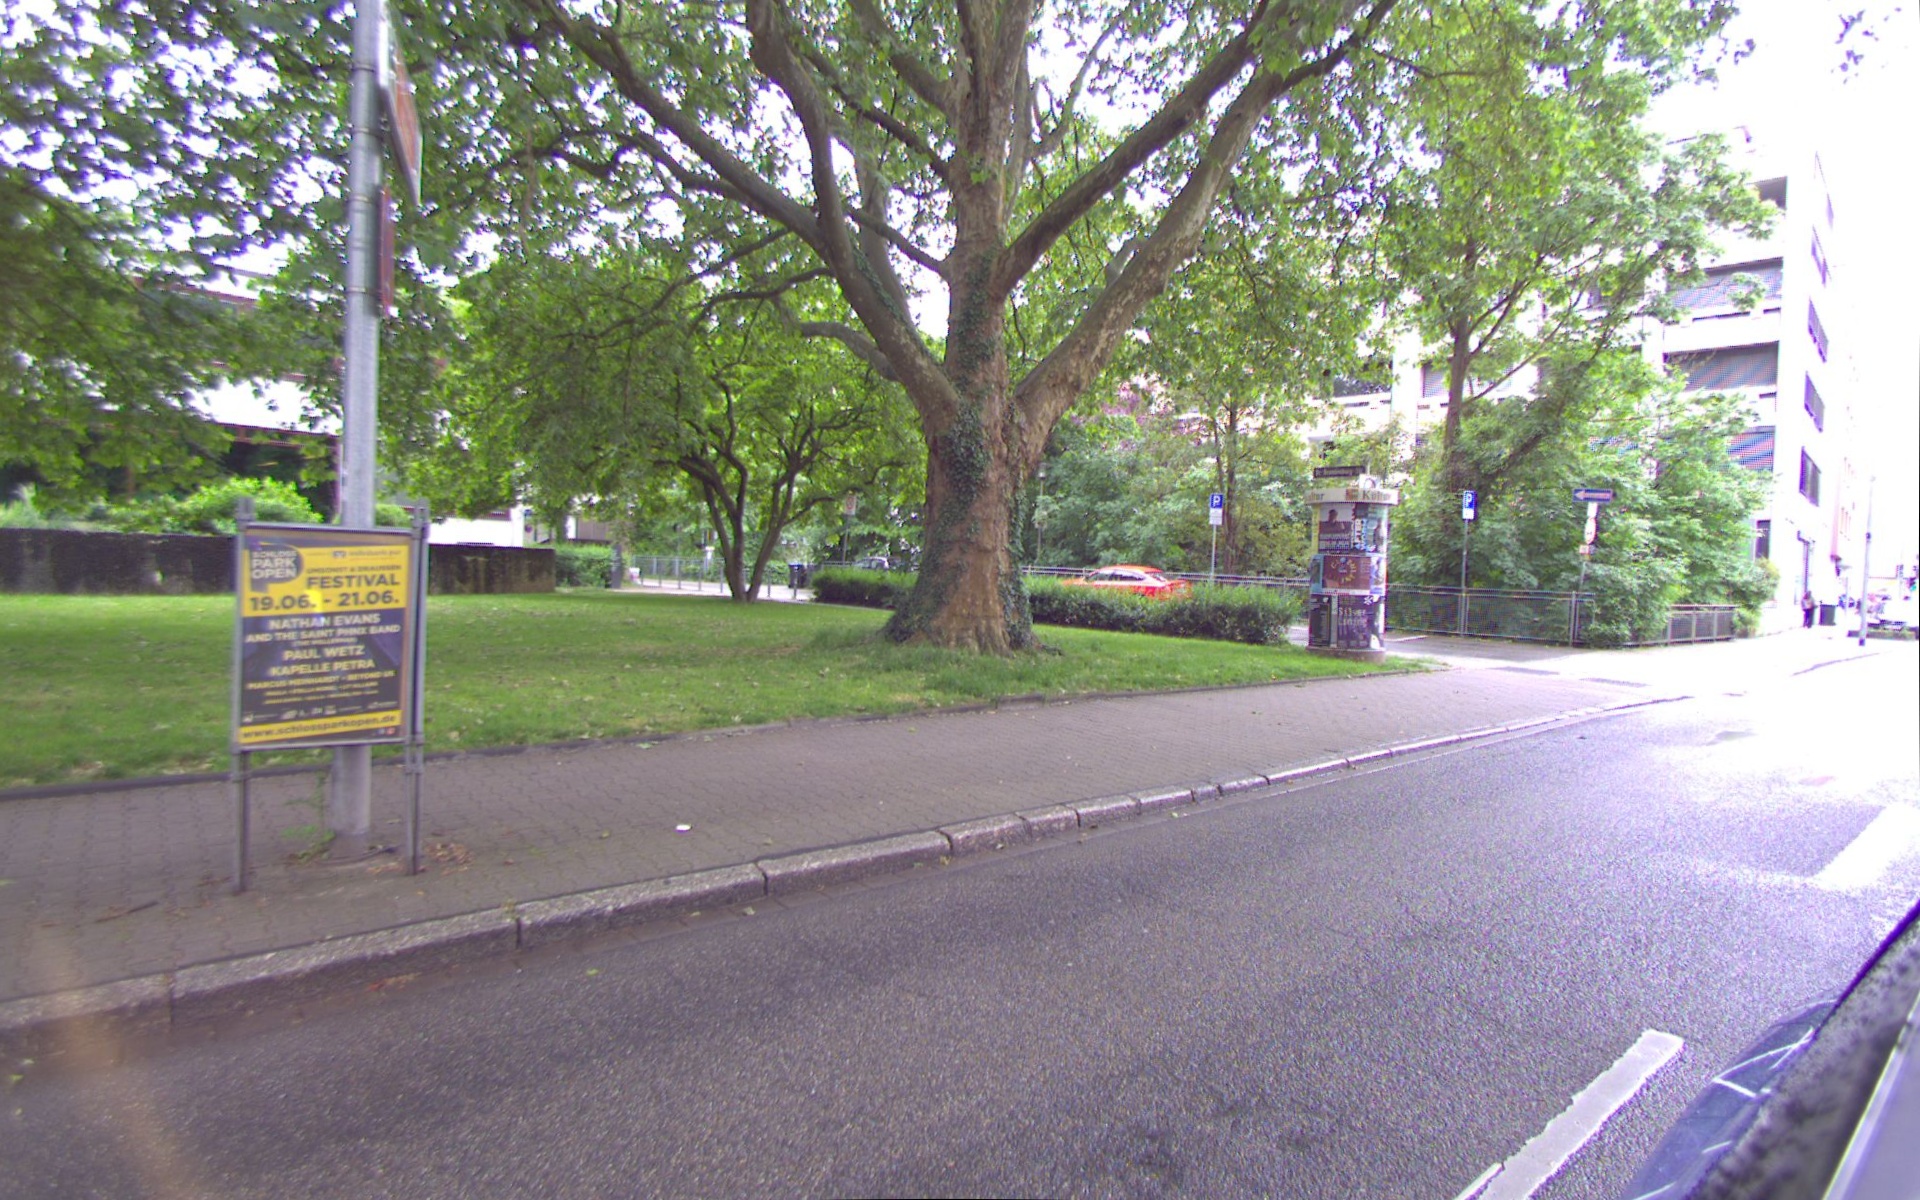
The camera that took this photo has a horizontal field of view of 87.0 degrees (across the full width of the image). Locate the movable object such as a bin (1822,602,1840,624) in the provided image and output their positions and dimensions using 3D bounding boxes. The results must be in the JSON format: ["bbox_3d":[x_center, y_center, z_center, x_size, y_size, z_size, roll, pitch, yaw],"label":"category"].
[{"bbox_3d":[41.924,0.619,48.713,0.287,1.054,0.556,0,3,-41],"label":"movable object such as a bin"}]

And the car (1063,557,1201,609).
[{"bbox_3d":[4.961,-0.537,29.541,1.551,1.294,3.784,-1,4,-44],"label":"car"}]

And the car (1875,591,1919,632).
[{"bbox_3d":[37.417,0.454,39.739,3.617,1.449,1.681,0,5,-41],"label":"car"}]

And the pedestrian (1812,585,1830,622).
[{"bbox_3d":[36.075,0.132,42.398,0.473,1.549,0.480,0,0,-41],"label":"pedestrian"}]

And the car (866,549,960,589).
[{"bbox_3d":[-1.751,-1.143,36.786,3.460,1.294,1.426,5,4,45],"label":"car"}]
